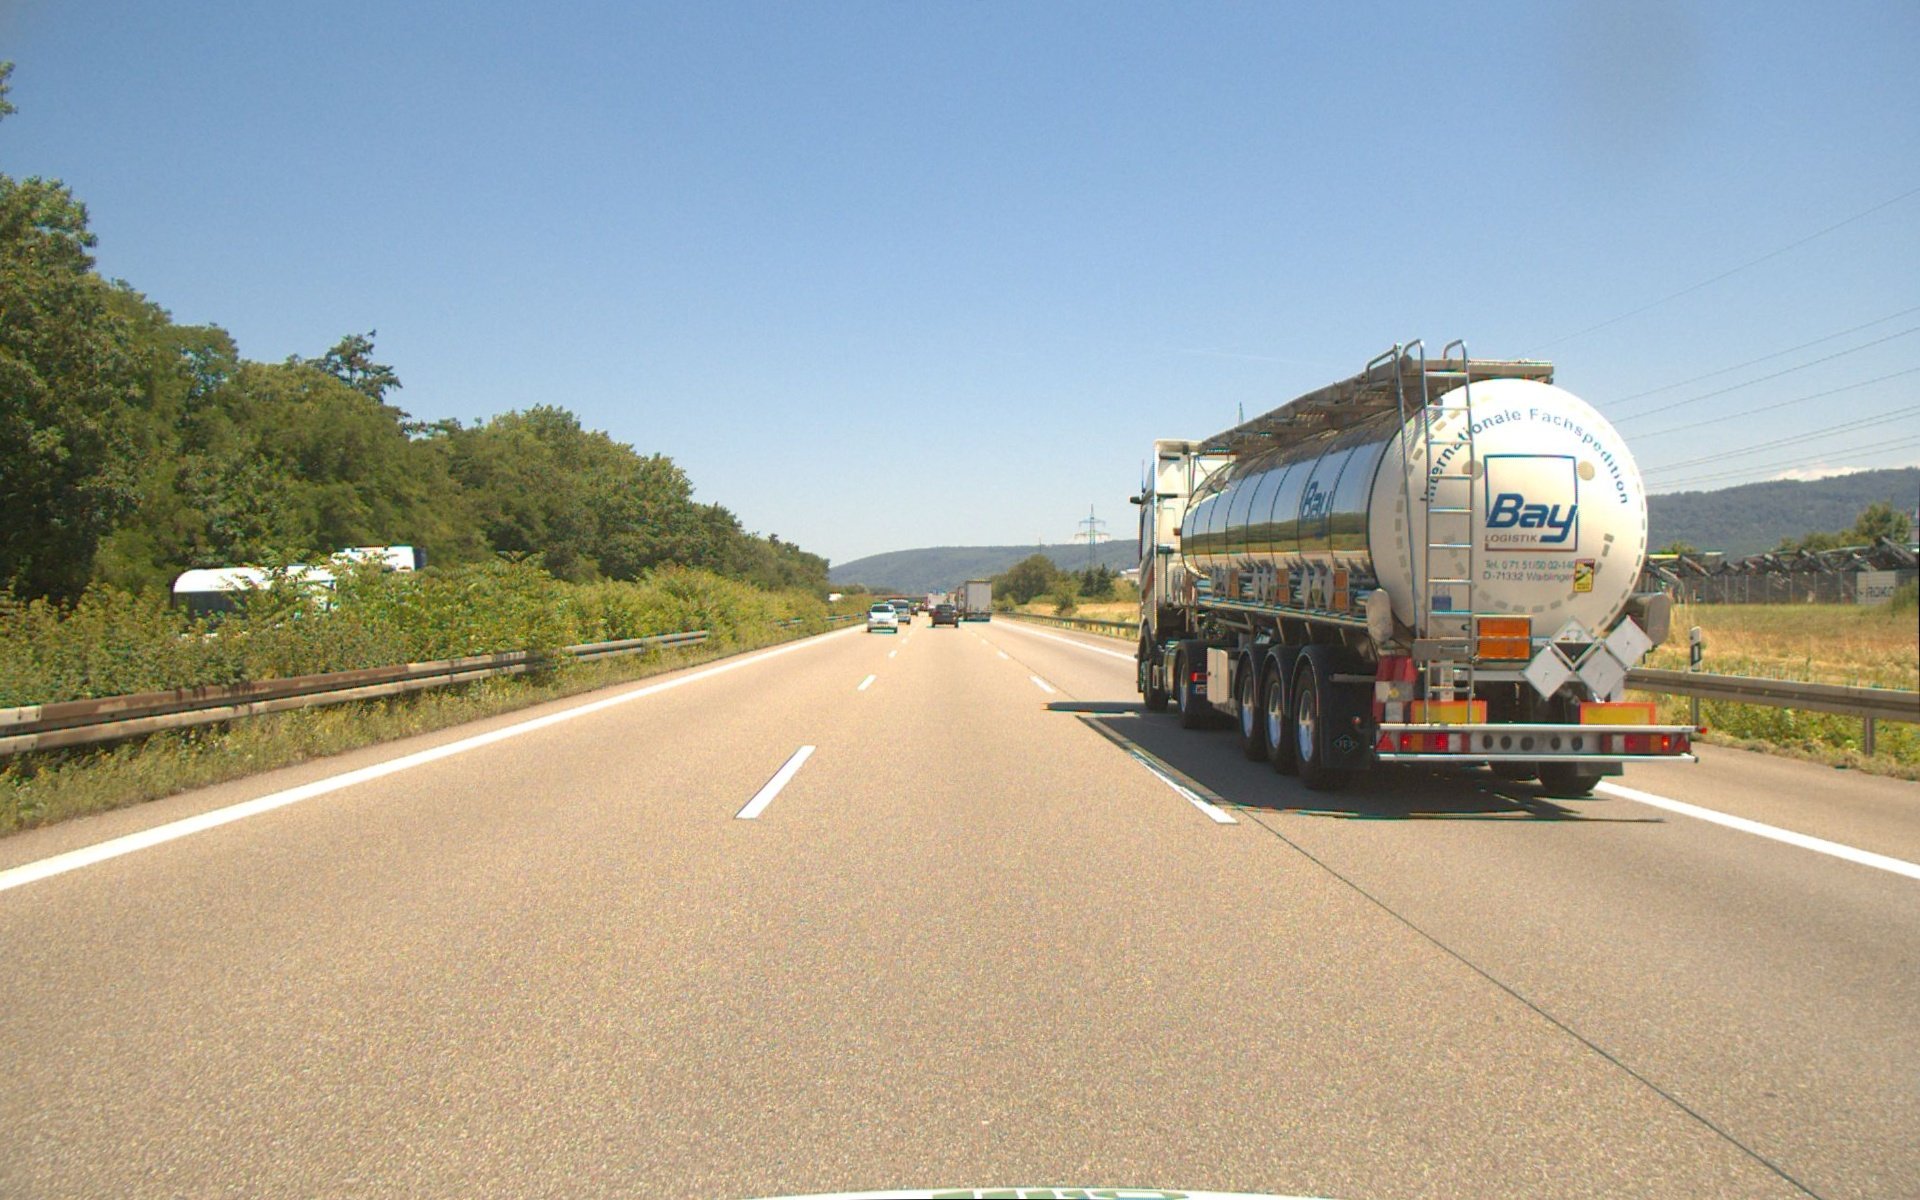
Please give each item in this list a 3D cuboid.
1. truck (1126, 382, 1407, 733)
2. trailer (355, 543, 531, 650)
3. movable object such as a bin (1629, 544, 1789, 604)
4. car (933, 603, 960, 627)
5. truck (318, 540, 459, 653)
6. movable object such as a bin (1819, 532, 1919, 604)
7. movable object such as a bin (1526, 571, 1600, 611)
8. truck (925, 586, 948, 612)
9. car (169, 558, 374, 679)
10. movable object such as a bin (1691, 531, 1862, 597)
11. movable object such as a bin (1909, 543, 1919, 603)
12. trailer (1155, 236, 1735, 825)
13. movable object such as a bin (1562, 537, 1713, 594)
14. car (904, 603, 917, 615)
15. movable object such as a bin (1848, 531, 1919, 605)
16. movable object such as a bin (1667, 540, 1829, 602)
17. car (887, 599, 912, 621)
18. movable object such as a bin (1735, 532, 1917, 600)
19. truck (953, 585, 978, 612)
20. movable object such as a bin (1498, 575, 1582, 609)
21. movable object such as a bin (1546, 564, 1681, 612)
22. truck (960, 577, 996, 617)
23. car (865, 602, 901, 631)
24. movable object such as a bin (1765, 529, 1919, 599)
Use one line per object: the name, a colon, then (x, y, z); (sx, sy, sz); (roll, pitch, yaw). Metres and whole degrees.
truck: (4.001, -0.515, 23.053); (2.521, 4.143, 6.391); (1, 0, -1)
trailer: (-20.255, -0.139, 65.949); (2.537, 3.770, 13.688); (1, 0, 0)
movable object such as a bin: (52.001, -1.774, 114.958); (10.046, 3.754, 2.393); (-2, 0, -1)
car: (-0.944, 1.019, 115.061); (1.846, 1.542, 3.999); (1, 0, -1)
truck: (-20.306, -0.129, 59.208); (2.537, 3.770, 6.827); (1, 0, 0)
movable object such as a bin: (52.809, -1.839, 90.793); (9.512, 3.754, 2.978); (-2, 0, 5)
movable object such as a bin: (52.423, -0.783, 143.819); (5.705, 3.252, 2.524); (-2, 0, 14)
truck: (-3.348, -0.126, 231.320); (3.034, 3.535, 11.539); (1, 0, -1)
car: (-16.037, 0.325, 39.020); (2.255, 2.443, 6.518); (1, 2, -2)
movable object such as a bin: (51.881, -2.264, 105.196); (9.520, 3.754, 2.678); (-2, 0, -1)
movable object such as a bin: (53.210, -1.525, 83.603); (8.545, 3.059, 2.957); (-2, 0, 5)
trailer: (4.125, -0.503, 17.359); (2.528, 4.145, 11.100); (1, 0, -1)
movable object such as a bin: (50.064, -2.533, 122.299); (10.046, 3.754, 2.664); (-2, 0, -1)
car: (-6.907, 1.287, 231.664); (1.814, 1.661, 3.999); (1, 0, -1)
movable object such as a bin: (52.612, -1.810, 87.246); (9.512, 3.754, 3.420); (-2, 0, 5)
movable object such as a bin: (52.971, -1.948, 111.314); (9.520, 3.754, 2.678); (-2, 0, -1)
car: (-4.739, 0.796, 129.641); (1.814, 1.661, 3.999); (1, 0, -1)
movable object such as a bin: (52.467, -2.035, 100.300); (9.516, 3.754, 2.633); (-2, 0, 1)
truck: (0.696, -0.208, 226.761); (3.034, 3.535, 11.539); (1, 0, -1)
movable object such as a bin: (51.826, -0.733, 147.939); (6.734, 2.735, 3.180); (-2, 0, 14)
movable object such as a bin: (53.218, -0.963, 134.737); (10.048, 3.475, 2.520); (-2, 0, 25)
truck: (1.757, -0.306, 168.565); (3.199, 3.925, 11.628); (1, 0, -1)
car: (-4.187, 0.863, 90.225); (1.770, 1.494, 3.999); (1, 0, -1)
movable object such as a bin: (52.545, -2.132, 96.606); (9.516, 3.754, 2.977); (-2, 0, 1)
